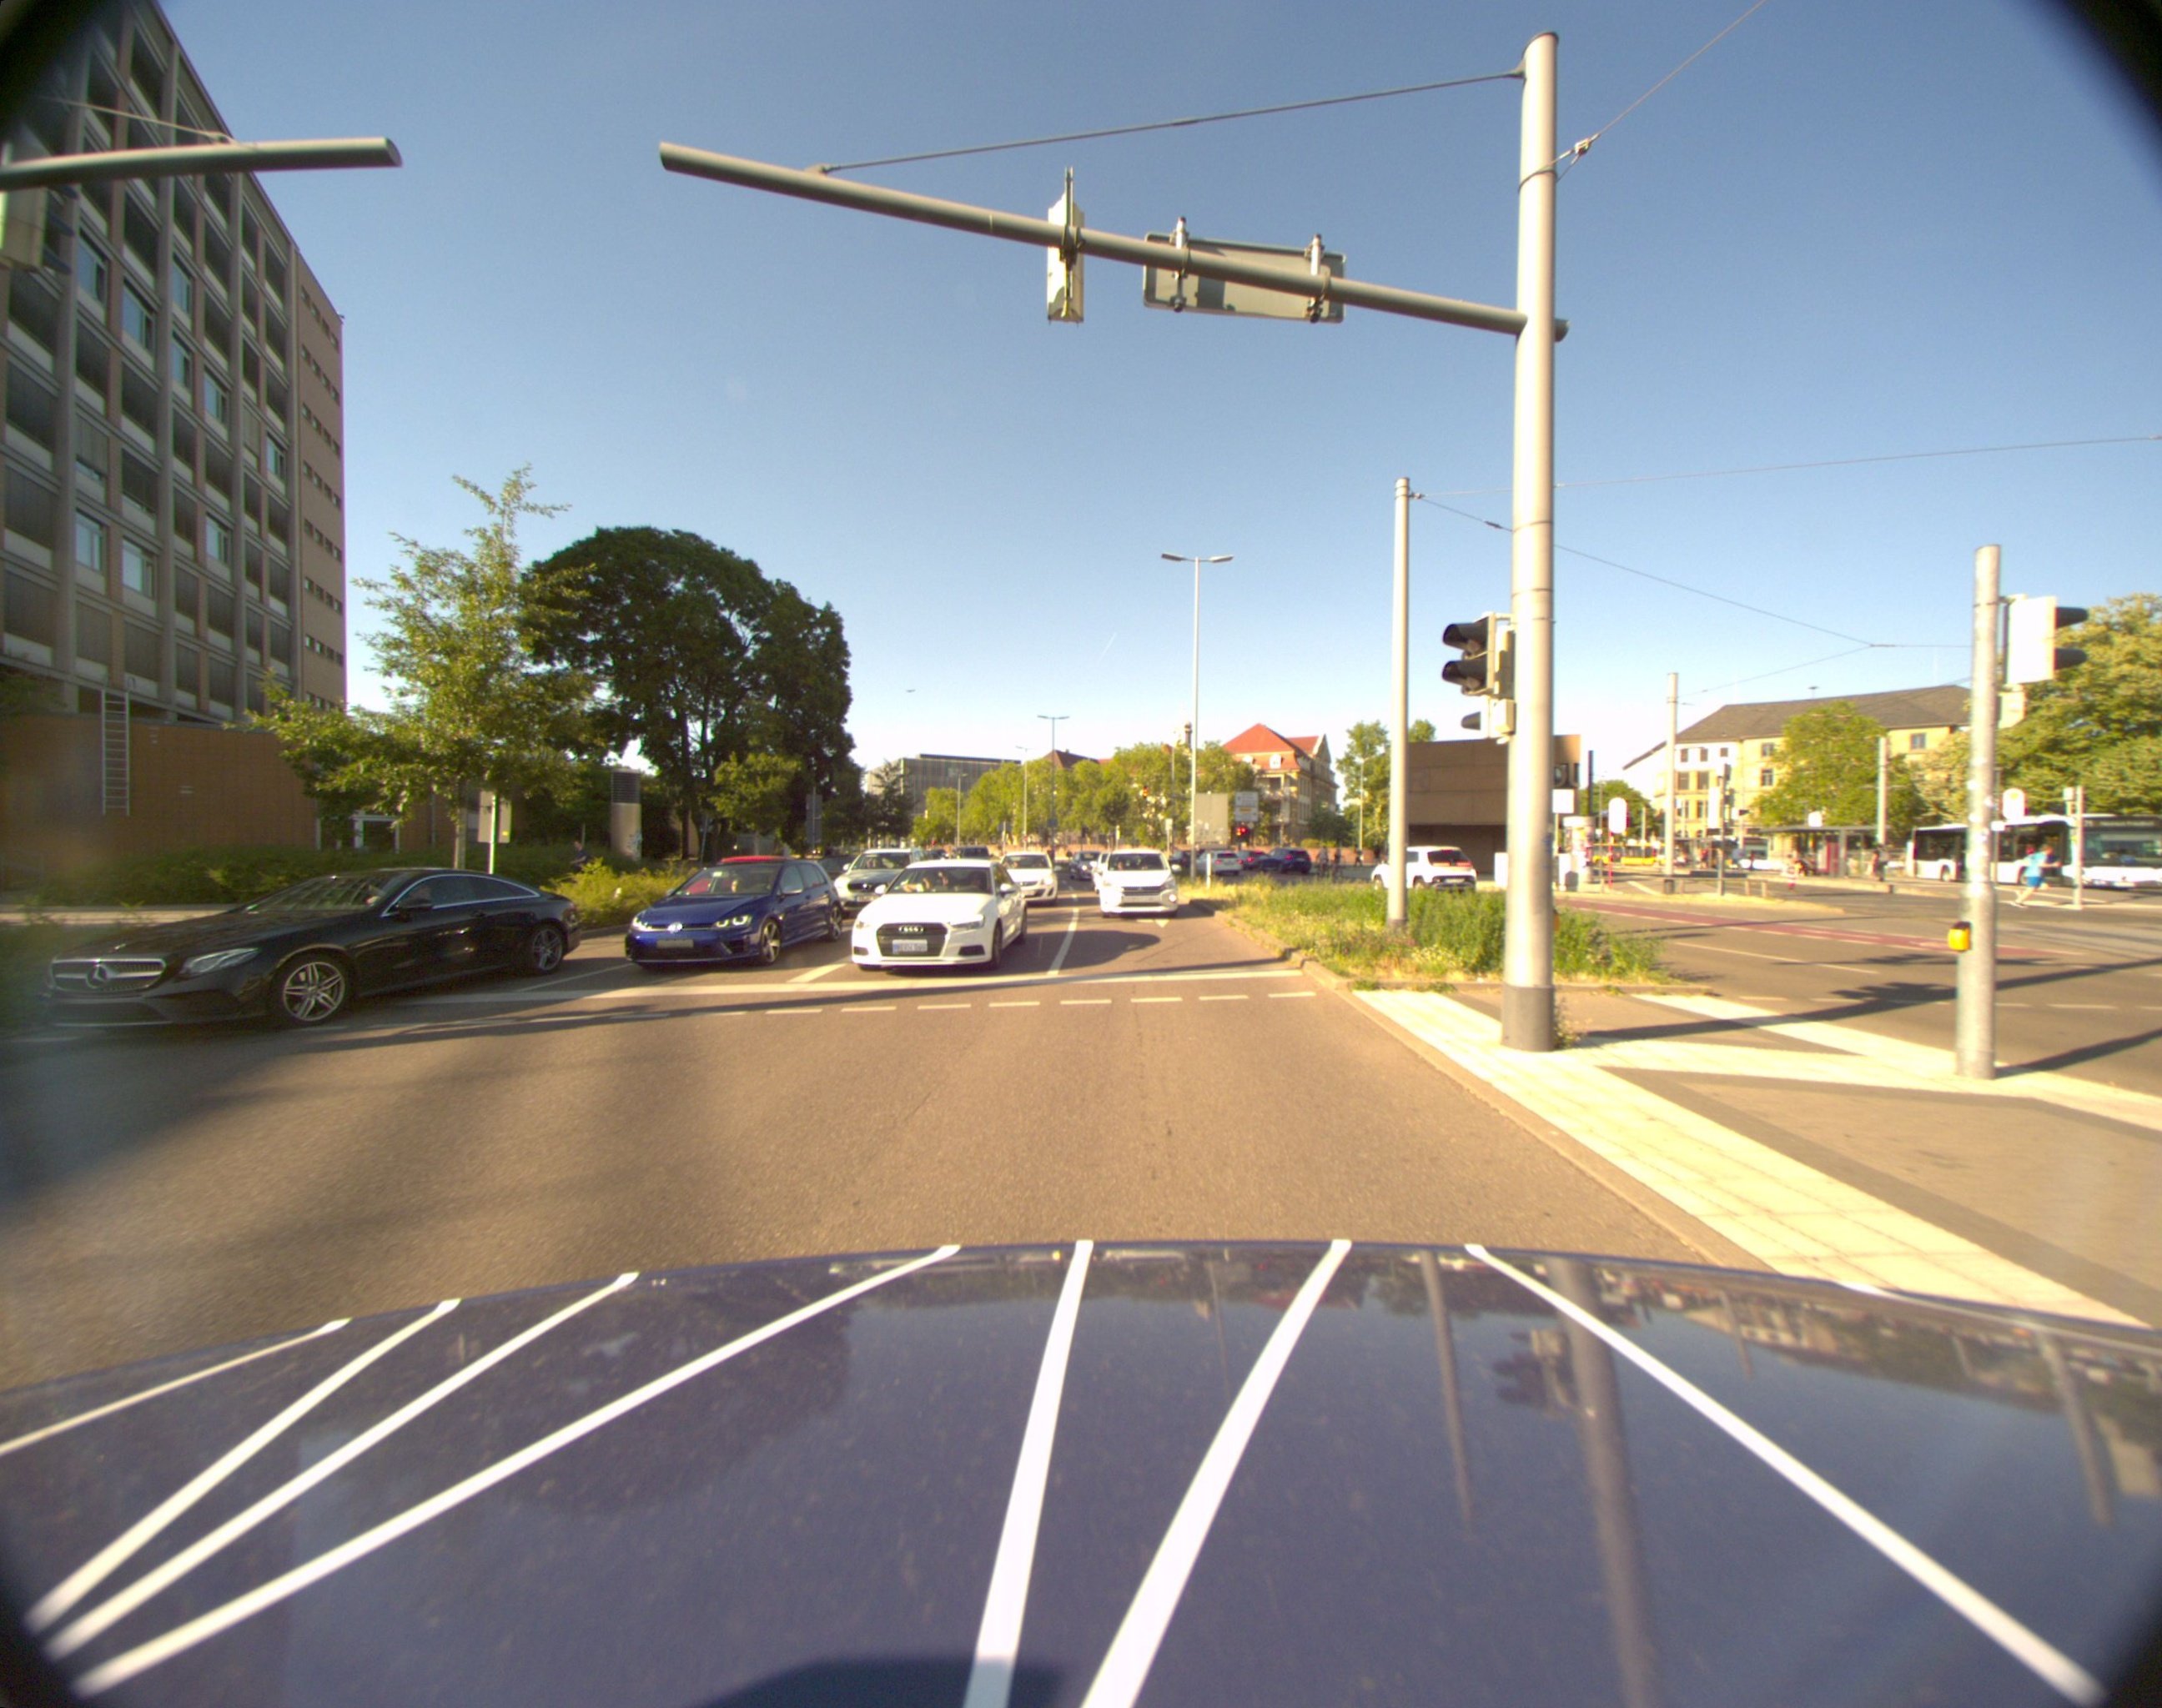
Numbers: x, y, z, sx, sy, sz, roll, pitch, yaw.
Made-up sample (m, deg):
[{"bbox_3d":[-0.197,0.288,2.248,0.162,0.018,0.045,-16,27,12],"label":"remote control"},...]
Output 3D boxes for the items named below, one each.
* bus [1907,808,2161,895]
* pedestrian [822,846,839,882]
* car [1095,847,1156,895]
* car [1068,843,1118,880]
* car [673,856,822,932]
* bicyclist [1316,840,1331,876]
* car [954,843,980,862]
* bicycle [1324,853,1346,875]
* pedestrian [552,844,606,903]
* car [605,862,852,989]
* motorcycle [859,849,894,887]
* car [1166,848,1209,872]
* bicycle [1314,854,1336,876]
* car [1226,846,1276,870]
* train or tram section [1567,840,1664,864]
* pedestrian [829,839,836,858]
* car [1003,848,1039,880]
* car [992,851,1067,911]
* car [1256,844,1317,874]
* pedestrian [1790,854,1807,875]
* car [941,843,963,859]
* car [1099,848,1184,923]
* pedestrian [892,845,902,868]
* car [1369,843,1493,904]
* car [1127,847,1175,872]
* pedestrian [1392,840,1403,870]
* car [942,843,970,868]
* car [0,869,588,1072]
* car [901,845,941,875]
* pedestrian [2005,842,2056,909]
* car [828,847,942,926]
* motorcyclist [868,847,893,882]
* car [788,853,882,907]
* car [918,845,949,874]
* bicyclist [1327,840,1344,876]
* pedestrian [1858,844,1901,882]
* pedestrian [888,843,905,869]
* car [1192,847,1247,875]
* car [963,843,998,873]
[{"bbox_3d":[40.668,-0.268,32.967,2.695,3.133,12.195,0,2,28],"label":"bus"},{"bbox_3d":[-13.220,0.537,40.067,0.464,1.876,0.696,-1,2,19],"label":"pedestrian"},{"bbox_3d":[1.483,0.530,26.573,1.755,1.451,4.187,-1,1,-2],"label":"car"},{"bbox_3d":[0.533,0.329,36.949,1.746,1.696,3.996,0,1,-9],"label":"car"},{"bbox_3d":[-7.589,0.833,17.745,1.628,1.451,4.040,-1,1,0],"label":"car"},{"bbox_3d":[13.654,0.210,42.815,0.611,2.002,0.565,0,1,-13],"label":"bicyclist"},{"bbox_3d":[-11.070,-0.140,73.602,1.881,1.805,3.993,0,1,-18],"label":"car"},{"bbox_3d":[14.367,0.571,43.043,0.464,1.185,1.395,-2,2,-15],"label":"bicycle"},{"bbox_3d":[-15.220,0.573,23.052,1.010,1.711,0.884,-2,2,-8],"label":"pedestrian"},{"bbox_3d":[-4.940,0.903,11.340,1.627,1.396,4.000,-1,1,2],"label":"car"},{"bbox_3d":[-7.544,0.484,28.101,0.718,1.298,2.234,-1,1,-2],"label":"motorcycle"},{"bbox_3d":[7.110,0.363,51.024,1.756,1.451,4.185,-2,1,-8],"label":"car"},{"bbox_3d":[13.740,0.592,42.749,0.464,1.185,1.395,-2,2,-15],"label":"bicycle"},{"bbox_3d":[11.696,0.215,52.444,1.850,1.483,4.388,2,1,-8],"label":"car"},{"bbox_3d":[68.434,-0.244,97.457,10.086,2.907,2.004,0,2,38],"label":"train or tram section"},{"bbox_3d":[-20.468,-0.469,62.582,0.548,1.521,0.603,-2,2,-17],"label":"pedestrian"},{"bbox_3d":[-3.092,0.474,38.798,1.746,1.536,3.997,0,1,-5],"label":"car"},{"bbox_3d":[-1.320,0.663,20.879,1.627,1.396,3.833,-1,1,2],"label":"car"},{"bbox_3d":[12.541,0.266,46.639,1.757,1.680,4.183,0,1,-14],"label":"car"},{"bbox_3d":[40.892,0.599,43.307,0.539,1.180,0.659,0,2,30],"label":"pedestrian"},{"bbox_3d":[-14.732,-0.386,86.750,1.881,1.805,3.993,0,1,-18],"label":"car"},{"bbox_3d":[1.295,0.625,17.585,1.628,1.451,4.040,-1,1,0],"label":"car"},{"bbox_3d":[-13.337,0.183,55.036,0.596,1.586,0.594,-2,2,-6],"label":"pedestrian"},{"bbox_3d":[10.744,0.521,23.640,1.785,1.652,3.997,-1,1,-4],"label":"car"},{"bbox_3d":[4.530,0.312,49.686,1.757,1.451,4.182,-2,1,-15],"label":"car"},{"bbox_3d":[21.251,0.041,51.040,0.655,2.002,0.469,-1,2,22],"label":"pedestrian"},{"bbox_3d":[-9.498,0.115,57.462,1.880,1.805,3.995,0,1,-12],"label":"car"},{"bbox_3d":[-7.796,0.985,8.323,1.727,1.396,4.510,-1,1,1],"label":"car"},{"bbox_3d":[-8.836,0.301,42.242,1.746,1.536,3.997,0,1,-6],"label":"car"},{"bbox_3d":[27.247,0.600,21.815,0.797,1.886,0.612,1,2,42],"label":"pedestrian"},{"bbox_3d":[-4.642,0.682,18.590,1.628,1.612,4.223,-1,1,0],"label":"car"},{"bbox_3d":[-7.580,0.378,28.767,0.718,1.298,0.735,-1,2,-2],"label":"motorcyclist"},{"bbox_3d":[-7.743,0.760,24.272,1.628,1.451,4.040,-1,1,0],"label":"car"},{"bbox_3d":[-9.540,0.324,49.003,1.880,1.805,3.995,0,1,-12],"label":"car"},{"bbox_3d":[14.384,0.229,42.955,0.611,2.002,0.708,0,1,-13],"label":"bicyclist"},{"bbox_3d":[36.000,0.403,34.257,1.040,1.674,1.005,0,2,26],"label":"pedestrian"},{"bbox_3d":[-14.541,0.176,59.996,1.143,2.002,1.285,-2,2,-8],"label":"pedestrian"},{"bbox_3d":[8.110,0.396,44.971,1.850,1.483,4.388,-2,1,-8],"label":"car"},{"bbox_3d":[-6.333,0.211,47.386,1.880,1.805,3.995,0,1,-12],"label":"car"}]
